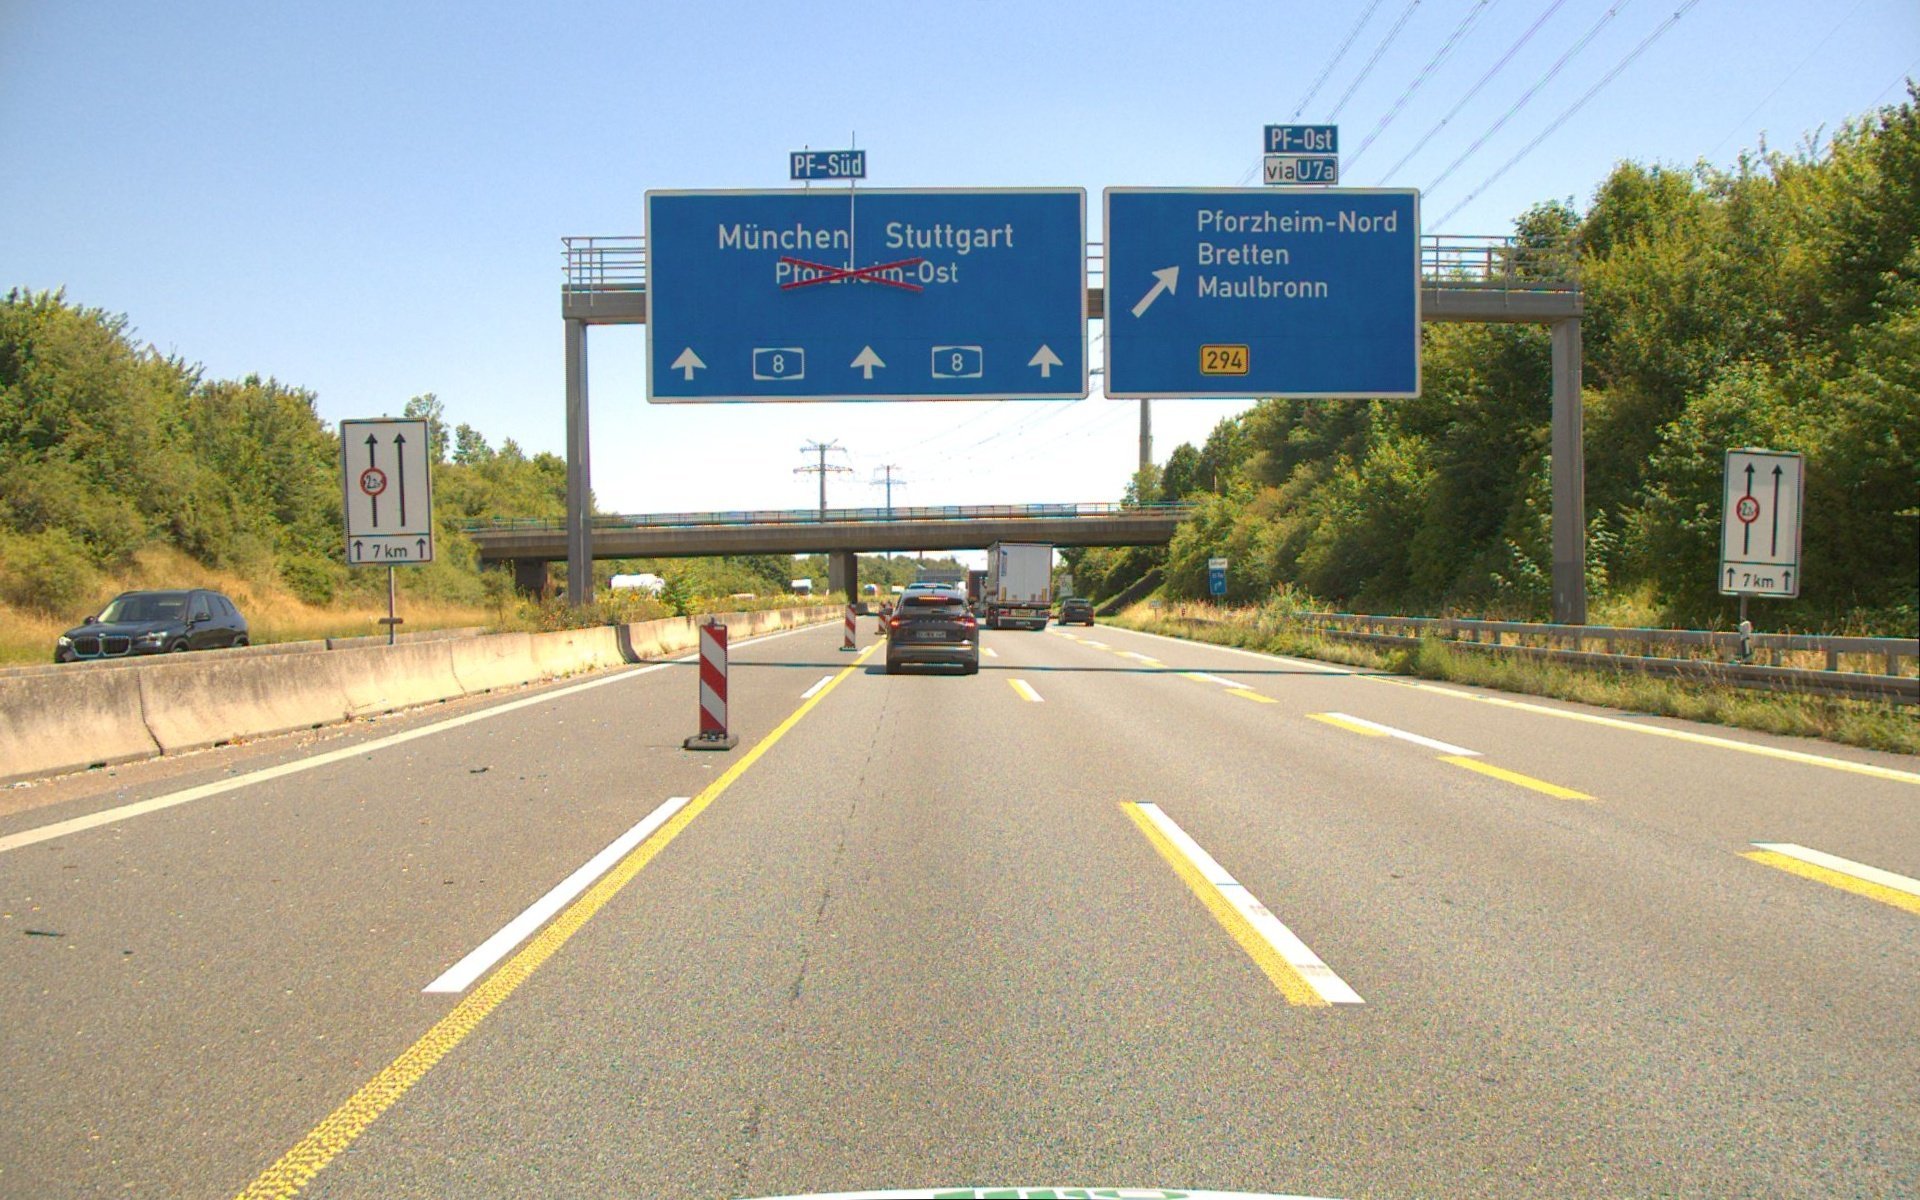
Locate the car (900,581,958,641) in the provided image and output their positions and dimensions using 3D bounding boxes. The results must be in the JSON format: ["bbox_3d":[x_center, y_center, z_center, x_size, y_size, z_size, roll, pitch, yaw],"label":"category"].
[{"bbox_3d":[-1.113,0.348,57.431,1.857,1.873,4.441,2,1,-2],"label":"car"}]

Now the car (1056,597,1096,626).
[{"bbox_3d":[6.327,0.615,90.877,1.743,1.515,4.463,1,0,-1],"label":"car"}]

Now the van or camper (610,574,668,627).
[{"bbox_3d":[-20.567,0.025,106.379,2.386,3.202,7.624,-1,0,-1],"label":"van or camper"}]

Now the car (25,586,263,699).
[{"bbox_3d":[-13.625,0.658,27.946,1.834,1.724,4.497,-1,0,-1],"label":"car"}]

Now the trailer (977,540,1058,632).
[{"bbox_3d":[2.653,-0.672,80.259,3.004,4.113,11.482,0,0,-3],"label":"trailer"}]

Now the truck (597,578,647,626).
[{"bbox_3d":[-24.312,0.114,119.229,2.445,3.316,6.363,-1,0,-1],"label":"truck"}]

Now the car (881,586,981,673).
[{"bbox_3d":[-0.625,0.532,33.161,1.857,1.620,4.441,0,1,-2],"label":"car"}]

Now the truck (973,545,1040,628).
[{"bbox_3d":[2.367,-0.697,87.098,2.964,4.159,7.792,1,0,-2],"label":"truck"}]

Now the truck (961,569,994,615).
[{"bbox_3d":[1.617,-0.769,160.566,3.015,4.219,13.053,1,0,0],"label":"truck"}]

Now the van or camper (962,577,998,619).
[{"bbox_3d":[1.460,-0.166,124.125,2.533,3.020,6.084,1,0,0],"label":"van or camper"}]
